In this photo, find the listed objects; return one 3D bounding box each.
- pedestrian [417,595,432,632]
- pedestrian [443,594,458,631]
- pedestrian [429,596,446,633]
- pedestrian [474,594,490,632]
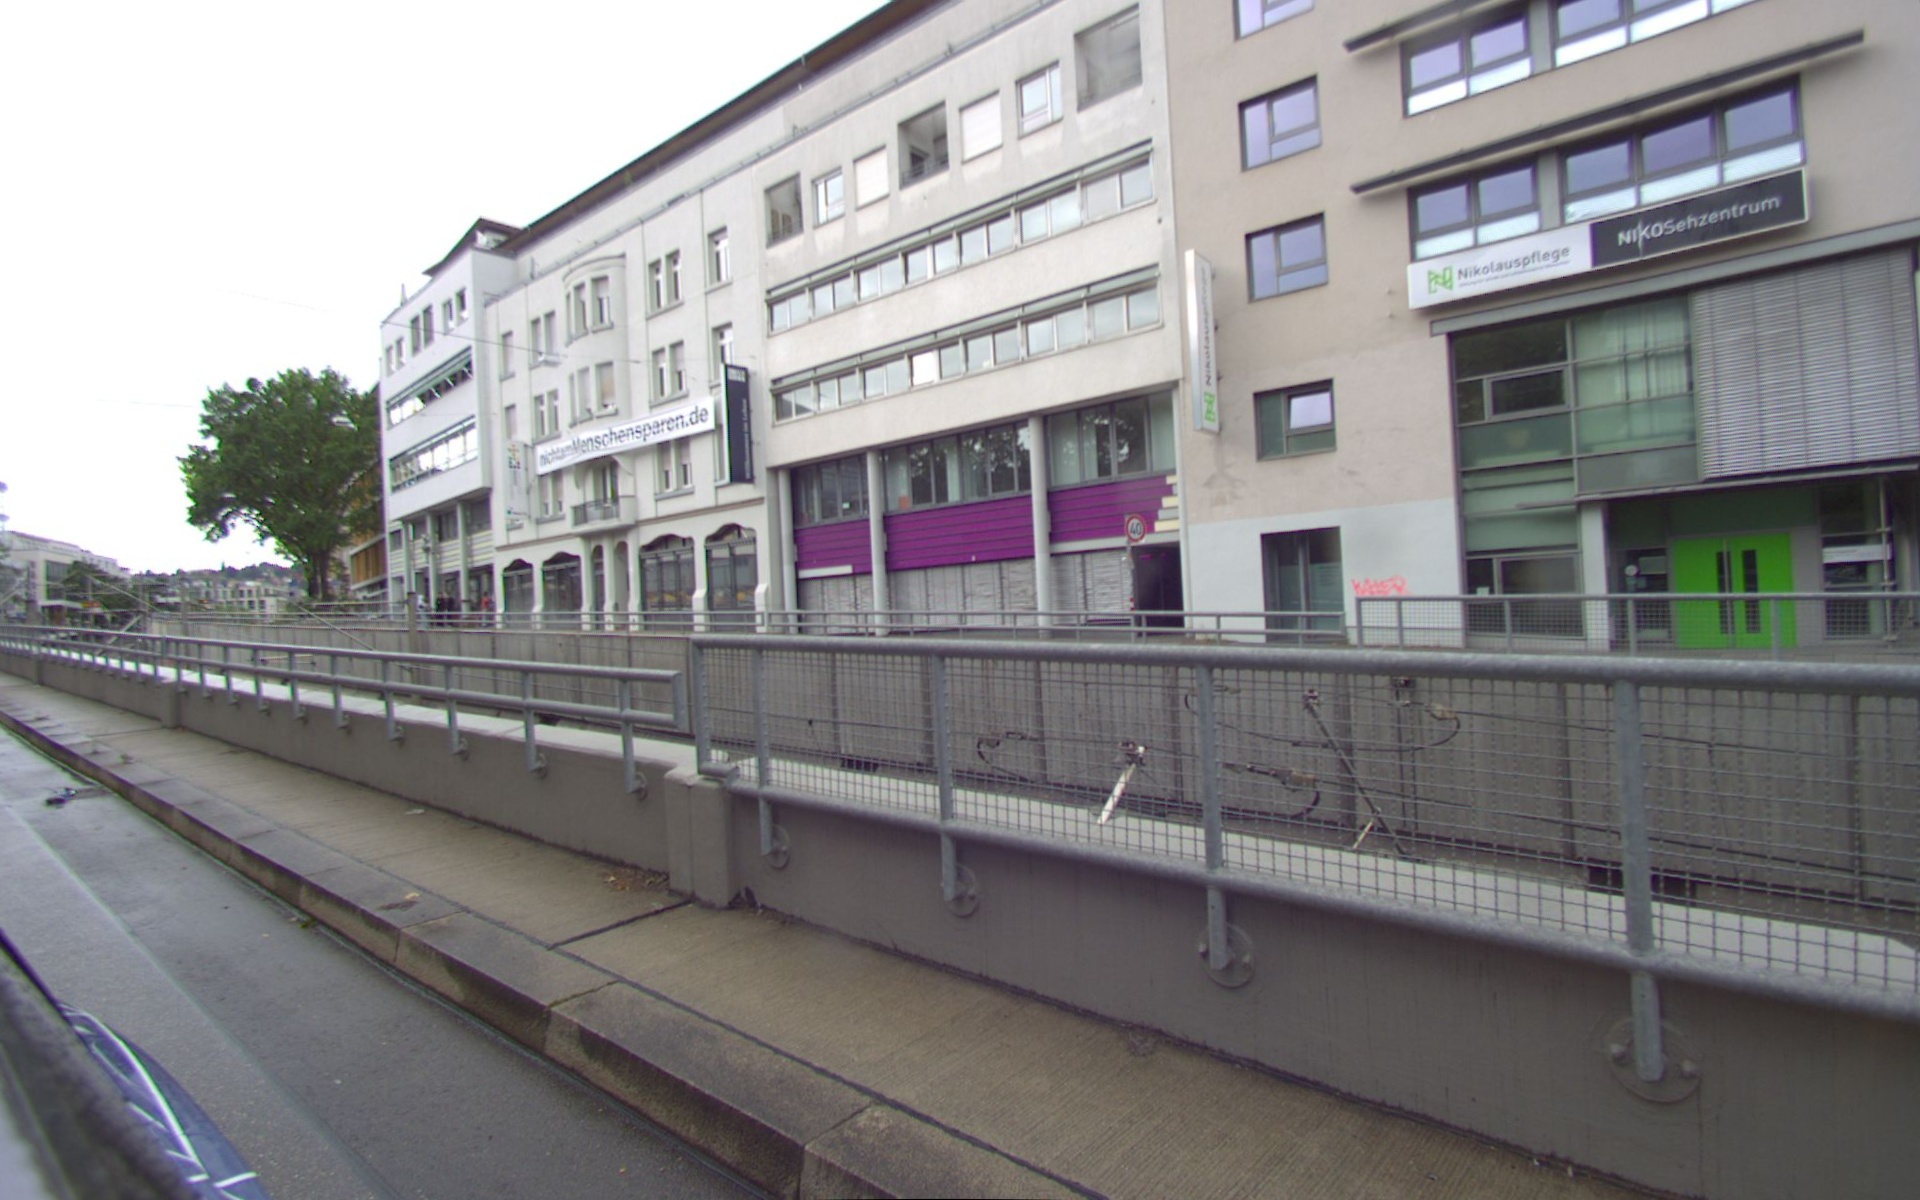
[{"bbox_3d":[-26.712,0.672,50.477,0.463,1.816,0.548,-3,1,-42],"label":"pedestrian"},{"bbox_3d":[-25.414,0.628,50.477,0.547,1.816,0.463,-2,1,44],"label":"pedestrian"},{"bbox_3d":[-26.428,0.728,51.225,0.469,1.816,0.541,-2,1,33],"label":"pedestrian"},{"bbox_3d":[-23.023,0.631,48.754,0.547,1.816,0.464,-1,1,40],"label":"pedestrian"}]
